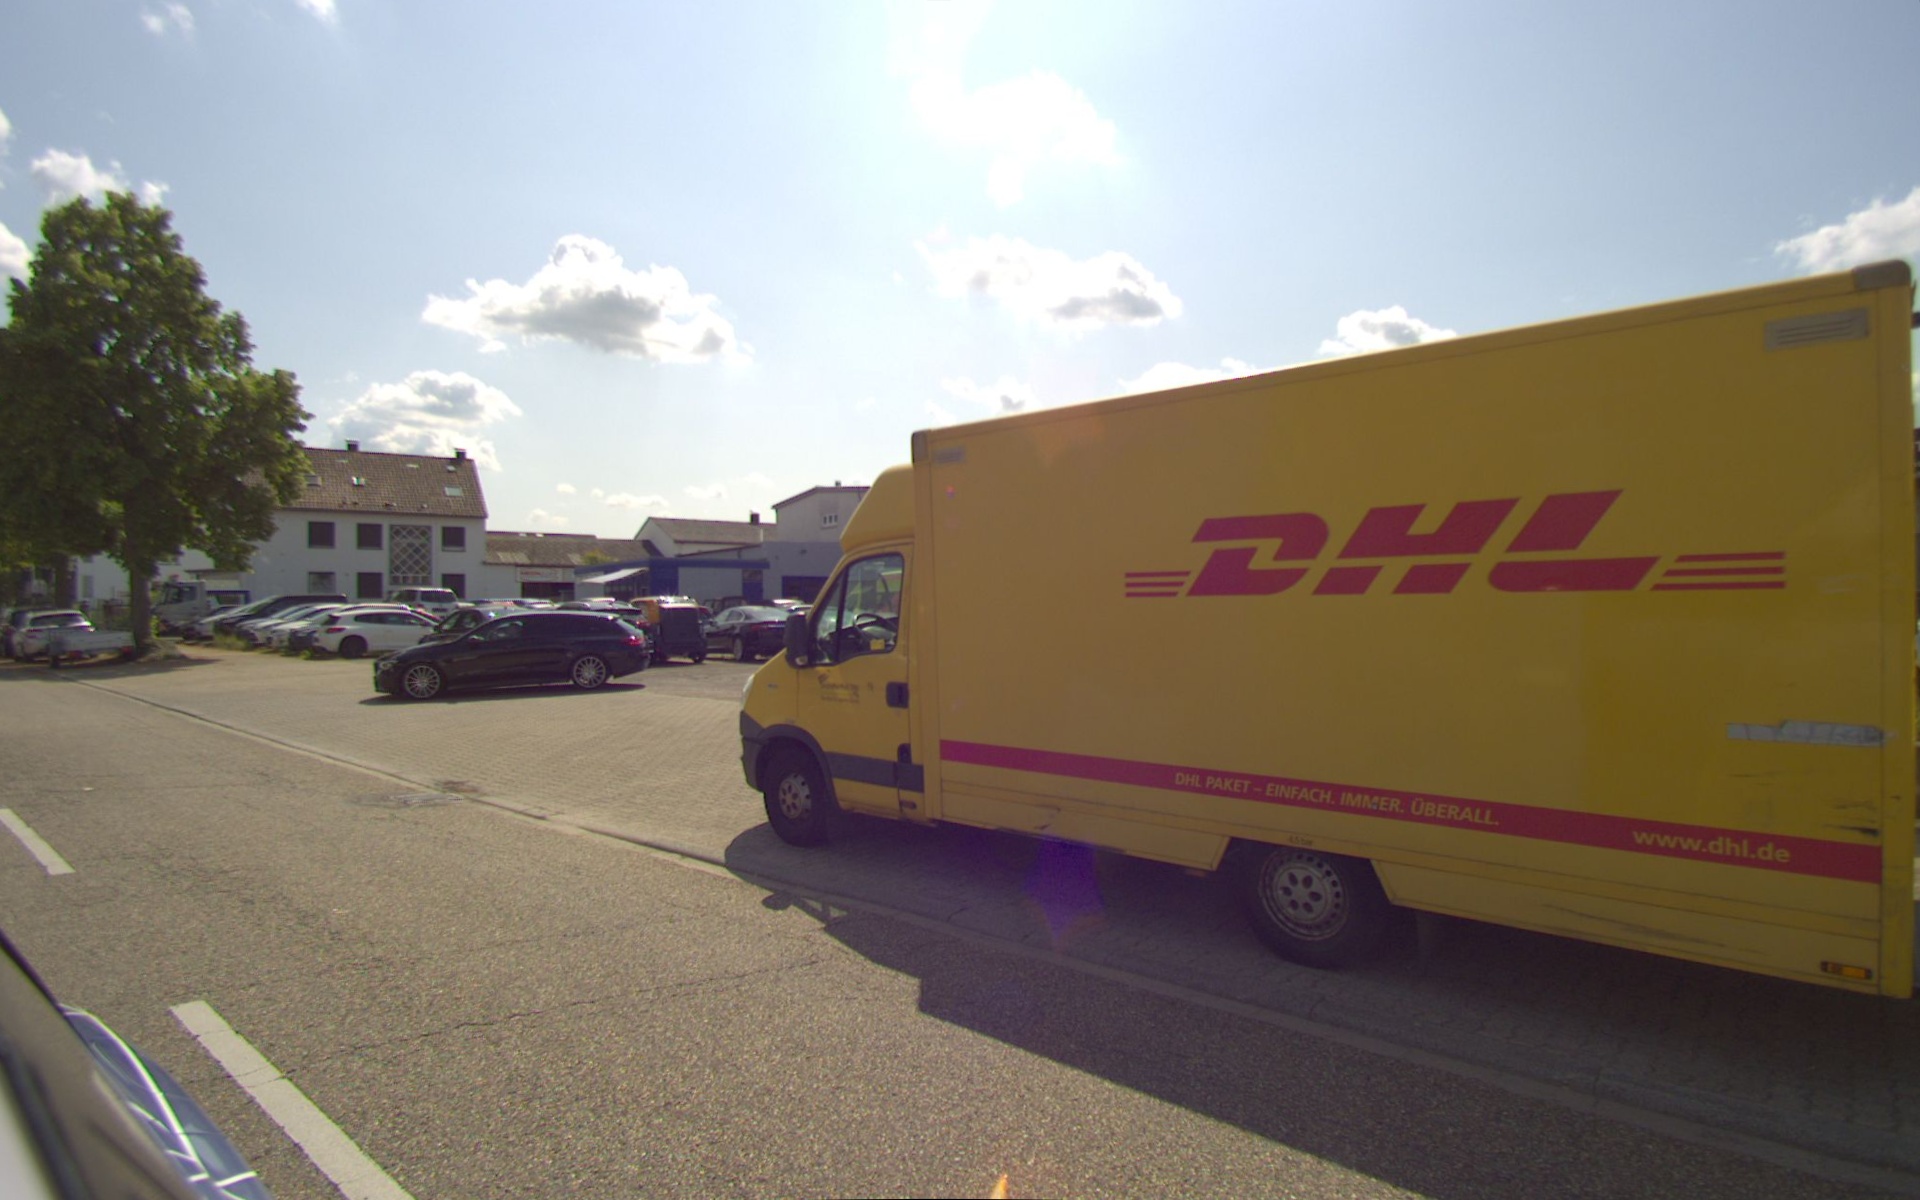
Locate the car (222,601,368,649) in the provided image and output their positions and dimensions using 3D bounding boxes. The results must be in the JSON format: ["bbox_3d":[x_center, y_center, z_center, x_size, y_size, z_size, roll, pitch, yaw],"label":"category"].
[{"bbox_3d":[-23.924,0.849,36.480,1.827,1.631,4.098,0,0,43],"label":"car"}]

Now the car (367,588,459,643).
[{"bbox_3d":[-21.052,0.580,38.922,3.995,2.029,1.694,-1,-1,38],"label":"car"}]

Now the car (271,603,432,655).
[{"bbox_3d":[-18.894,0.866,31.538,1.827,1.501,3.982,0,0,43],"label":"car"}]

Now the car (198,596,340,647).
[{"bbox_3d":[-25.862,0.782,37.974,1.827,1.801,4.098,0,0,43],"label":"car"}]

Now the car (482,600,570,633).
[{"bbox_3d":[-25.470,0.949,59.496,4.421,1.805,2.005,0,1,-37],"label":"car"}]

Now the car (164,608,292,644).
[{"bbox_3d":[-31.031,1.097,42.978,1.678,1.470,4.151,-2,-2,43],"label":"car"}]

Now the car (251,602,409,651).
[{"bbox_3d":[-20.580,0.816,33.166,1.827,1.501,4.098,0,0,43],"label":"car"}]

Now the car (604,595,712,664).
[{"bbox_3d":[-7.838,0.723,26.120,1.425,1.668,3.305,0,-1,-41],"label":"car"}]

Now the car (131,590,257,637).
[{"bbox_3d":[-38.213,0.616,50.610,4.935,2.248,2.005,0,1,-37],"label":"car"}]

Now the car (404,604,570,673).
[{"bbox_3d":[-10.849,0.826,23.078,4.582,1.421,1.736,-1,0,41],"label":"car"}]

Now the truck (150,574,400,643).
[{"bbox_3d":[-31.192,0.414,46.491,2.722,2.878,9.152,-1,-1,45],"label":"truck"}]

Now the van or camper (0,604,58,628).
[{"bbox_3d":[-67.356,1.141,72.968,1.751,1.554,4.011,-2,1,-14],"label":"van or camper"}]

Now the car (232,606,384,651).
[{"bbox_3d":[-22.374,0.922,34.823,1.827,1.441,4.098,0,0,43],"label":"car"}]

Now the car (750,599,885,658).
[{"bbox_3d":[-4.113,0.773,28.783,1.733,1.545,4.169,1,-1,-43],"label":"car"}]

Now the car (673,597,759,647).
[{"bbox_3d":[-9.827,0.867,40.617,1.689,1.909,4.006,0,-1,-41],"label":"car"}]

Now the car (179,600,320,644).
[{"bbox_3d":[-27.892,0.849,39.826,1.825,1.627,4.251,-1,-1,40],"label":"car"}]

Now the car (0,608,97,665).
[{"bbox_3d":[-27.957,1.070,30.966,4.236,1.539,1.813,-1,1,43],"label":"car"}]

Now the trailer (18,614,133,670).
[{"bbox_3d":[-24.413,1.110,27.882,4.506,1.299,1.743,-1,3,41],"label":"trailer"}]

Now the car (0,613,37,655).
[{"bbox_3d":[-35.742,1.234,37.782,4.160,1.495,1.680,-1,0,45],"label":"car"}]

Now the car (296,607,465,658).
[{"bbox_3d":[-17.019,0.915,29.827,3.980,1.384,1.828,0,0,-45],"label":"car"}]

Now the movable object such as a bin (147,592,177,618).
[{"bbox_3d":[-49.571,0.314,62.865,1.291,1.443,1.607,-1,-6,-33],"label":"movable object such as a bin"}]

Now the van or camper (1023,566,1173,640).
[{"bbox_3d":[4.883,0.147,36.562,1.969,2.494,5.368,0,-1,-41],"label":"van or camper"}]

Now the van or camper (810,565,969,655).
[{"bbox_3d":[-2.262,0.328,30.862,1.969,2.494,5.368,0,-1,-41],"label":"van or camper"}]

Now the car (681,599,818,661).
[{"bbox_3d":[-5.744,0.785,27.321,1.733,1.545,4.169,2,-2,-43],"label":"car"}]

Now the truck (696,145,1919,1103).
[{"bbox_3d":[1.422,0.070,5.882,7.068,2.878,2.197,0,1,43],"label":"truck"}]

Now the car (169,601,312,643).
[{"bbox_3d":[-29.420,0.914,41.483,1.827,1.594,4.476,-2,-2,43],"label":"car"}]

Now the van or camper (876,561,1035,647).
[{"bbox_3d":[-0.246,0.160,32.088,1.969,2.494,5.368,0,-1,-41],"label":"van or camper"}]

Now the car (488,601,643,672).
[{"bbox_3d":[-9.615,0.833,24.539,4.255,1.545,1.736,-1,0,41],"label":"car"}]

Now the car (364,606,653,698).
[{"bbox_3d":[-7.970,0.871,18.371,4.516,1.405,2.006,-2,0,-15],"label":"car"}]

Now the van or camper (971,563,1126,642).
[{"bbox_3d":[2.929,0.139,34.534,1.969,2.494,5.368,0,-1,-41],"label":"van or camper"}]

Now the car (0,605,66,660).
[{"bbox_3d":[-31.867,1.059,34.328,4.397,1.712,1.676,-1,2,40],"label":"car"}]
